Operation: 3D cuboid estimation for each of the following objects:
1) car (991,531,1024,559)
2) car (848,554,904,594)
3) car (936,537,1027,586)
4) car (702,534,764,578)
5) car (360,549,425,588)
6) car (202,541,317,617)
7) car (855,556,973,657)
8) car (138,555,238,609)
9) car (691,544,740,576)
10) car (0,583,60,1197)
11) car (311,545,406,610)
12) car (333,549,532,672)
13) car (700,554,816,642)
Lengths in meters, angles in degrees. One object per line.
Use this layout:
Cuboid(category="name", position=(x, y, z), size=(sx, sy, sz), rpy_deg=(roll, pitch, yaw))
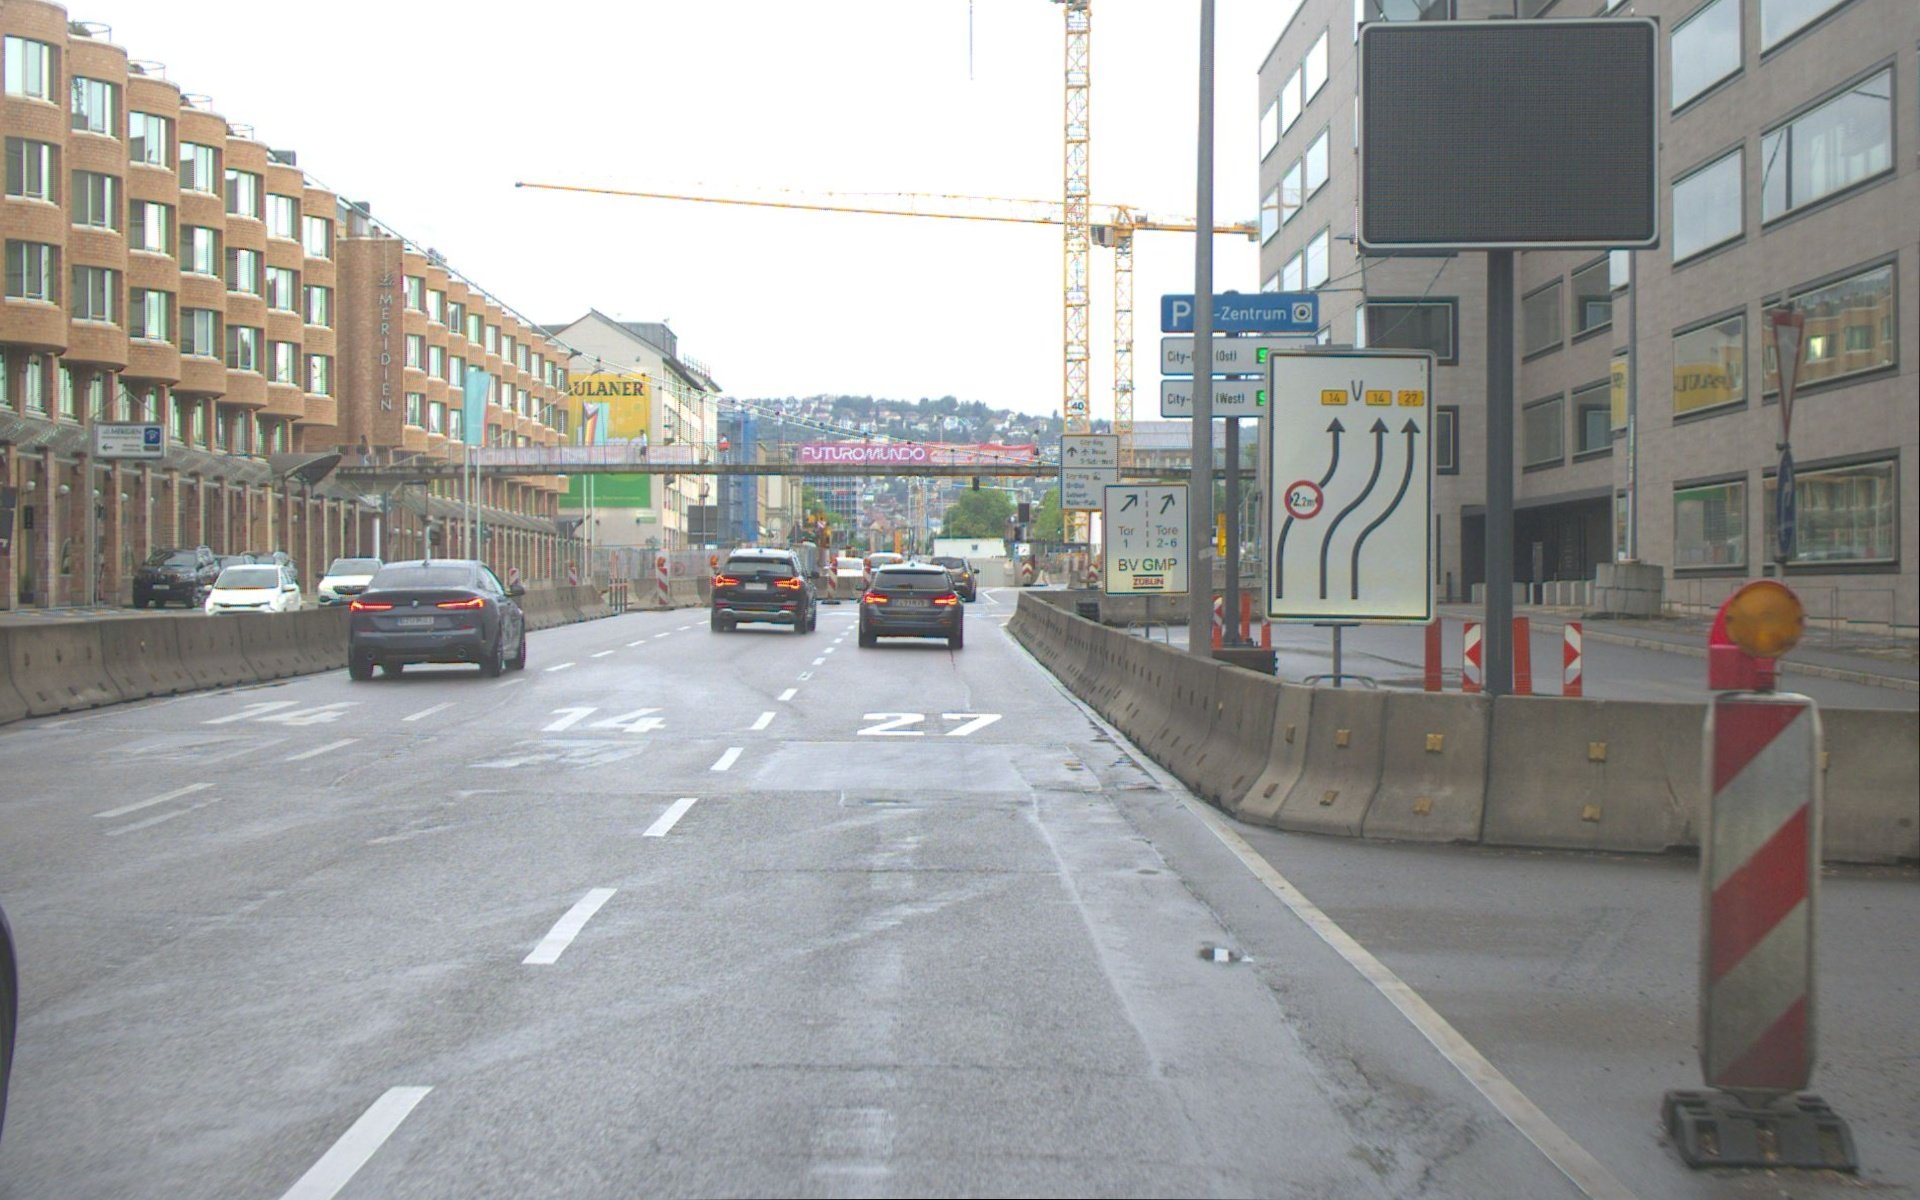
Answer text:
Cuboid(category="car", position=(2.911, -3.346, 209.395), size=(1.900, 1.687, 4.000), rpy_deg=(0, 0, 3))
Cuboid(category="car", position=(-3.420, -1.071, 140.825), size=(1.993, 1.614, 4.763), rpy_deg=(0, 0, 2))
Cuboid(category="car", position=(0.765, -1.364, 121.562), size=(1.902, 1.687, 3.996), rpy_deg=(0, 0, 21))
Cuboid(category="car", position=(-8.551, -1.646, 129.889), size=(1.993, 1.614, 4.763), rpy_deg=(0, 0, 0))
Cuboid(category="car", position=(-24.144, -1.335, 146.342), size=(1.993, 1.614, 4.690), rpy_deg=(0, 0, 0))
Cuboid(category="car", position=(-14.264, -0.445, 70.149), size=(1.602, 1.437, 3.658), rpy_deg=(0, 2, 0))
Cuboid(category="car", position=(-0.765, 0.100, 60.017), size=(1.900, 1.687, 4.000), rpy_deg=(0, 0, 1))
Cuboid(category="car", position=(-23.606, -0.558, 105.330), size=(1.993, 1.614, 4.763), rpy_deg=(0, 0, 0))
Cuboid(category="car", position=(-12.591, -2.065, 177.365), size=(1.993, 1.614, 4.763), rpy_deg=(0, 0, 2))
Cuboid(category="car", position=(-3.080, 0.674, 6.148), size=(1.791, 1.421, 4.613), rpy_deg=(1, 0, -1))
Cuboid(category="car", position=(-16.212, -0.638, 92.791), size=(1.820, 1.613, 4.192), rpy_deg=(0, 2, 0))
Cuboid(category="car", position=(-6.412, 0.106, 42.204), size=(1.790, 1.422, 4.385), rpy_deg=(0, 0, -1))
Cuboid(category="car", position=(-3.999, -0.050, 68.563), size=(1.900, 1.687, 4.000), rpy_deg=(0, 0, 3))
